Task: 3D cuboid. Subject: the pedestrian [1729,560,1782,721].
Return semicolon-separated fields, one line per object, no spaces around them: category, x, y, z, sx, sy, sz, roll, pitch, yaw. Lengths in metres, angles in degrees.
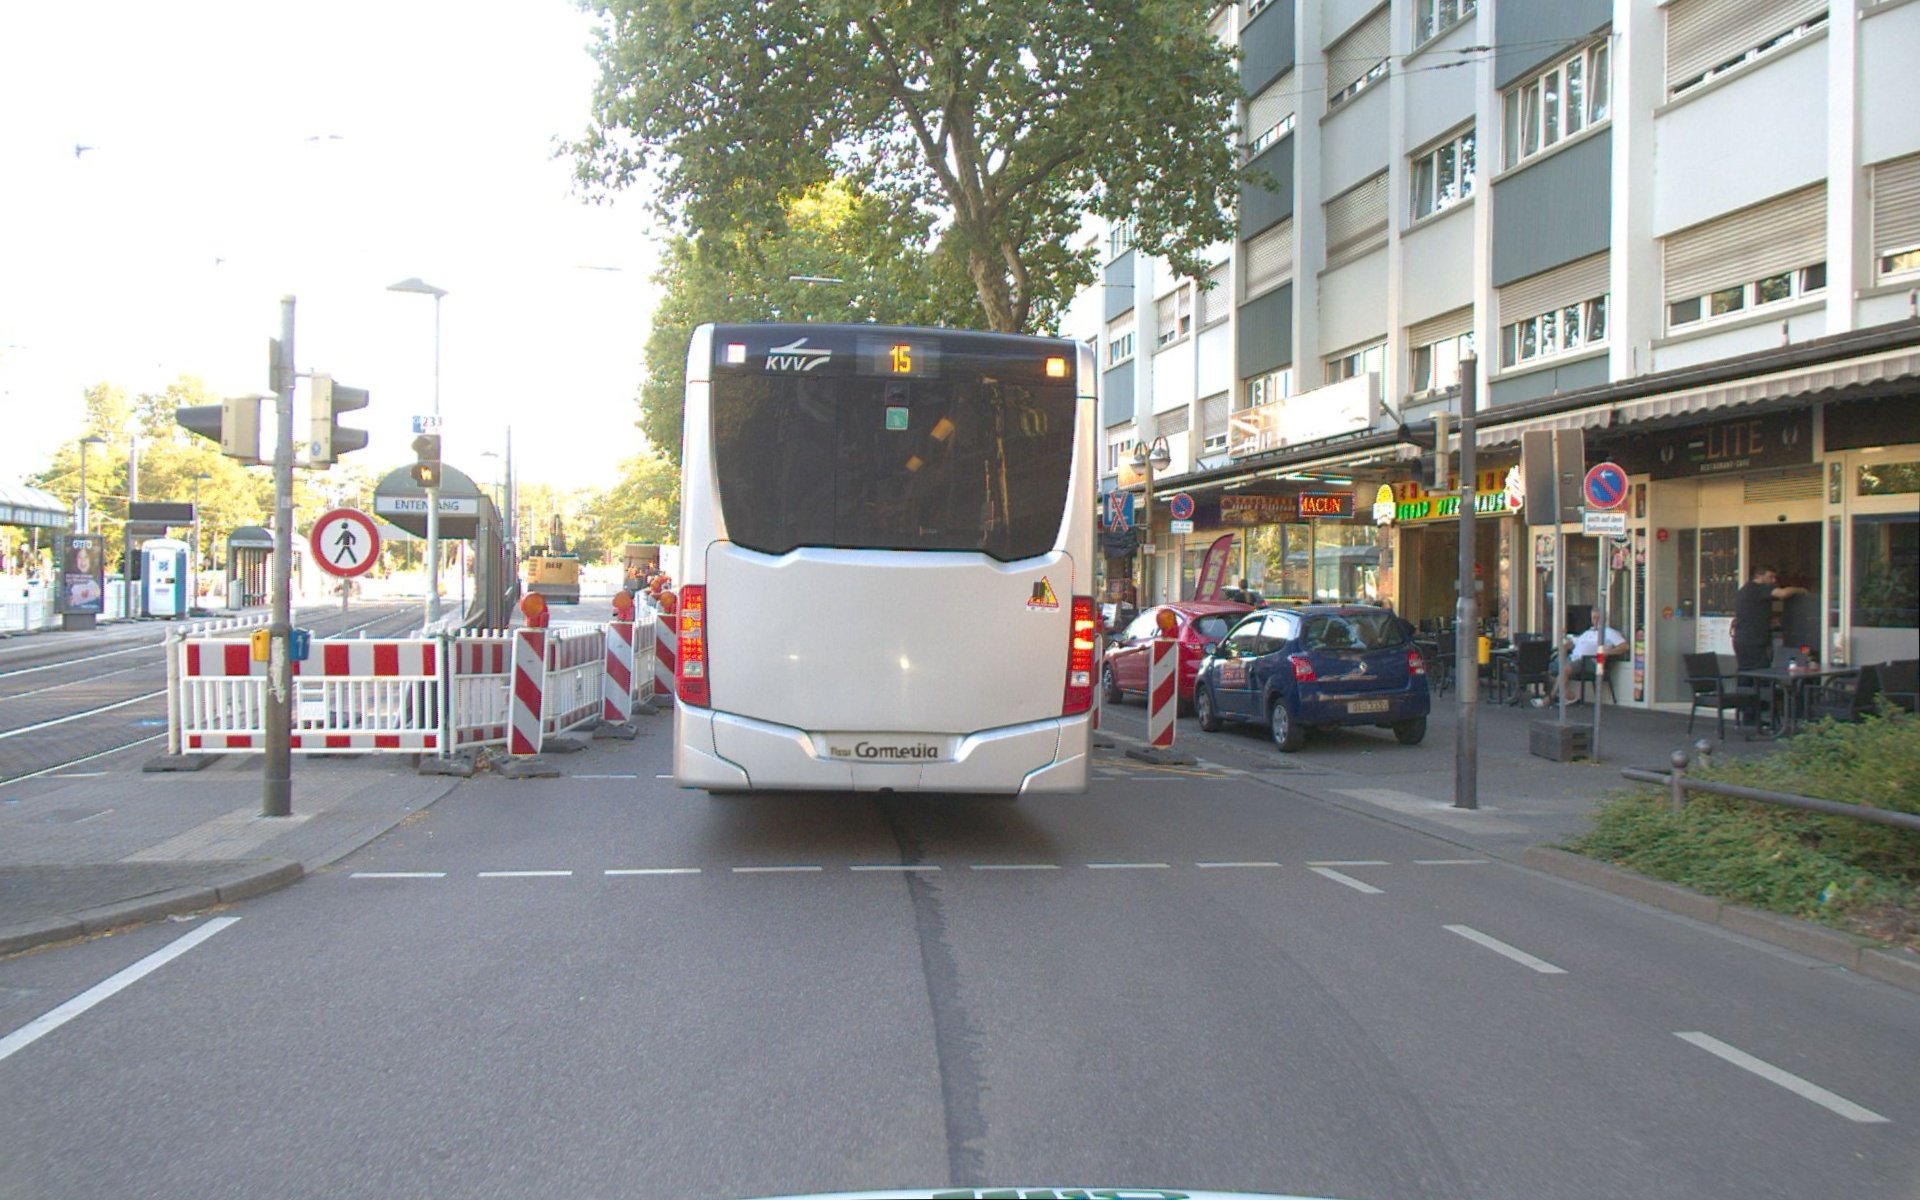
pedestrian;8.741;0.439;18.178;0.350;1.748;0.309;2;1;-3

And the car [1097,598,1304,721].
car;3.191;0.741;22.549;1.634;1.419;3.401;-3;1;-13

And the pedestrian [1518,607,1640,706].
pedestrian;7.912;0.717;21.172;1.156;1.218;0.924;1;0;-11

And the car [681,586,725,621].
car;-11.283;0.129;72.386;1.725;1.489;3.989;1;0;-11

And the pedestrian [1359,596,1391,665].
pedestrian;6.928;0.512;27.635;0.380;1.141;0.391;1;0;-11

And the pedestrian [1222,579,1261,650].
pedestrian;5.091;0.260;29.938;0.581;1.278;0.392;1;0;-10

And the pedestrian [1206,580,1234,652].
pedestrian;4.620;0.285;29.391;0.380;1.278;0.391;1;0;-11

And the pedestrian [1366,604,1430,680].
pedestrian;6.718;0.638;25.387;0.692;1.128;0.764;1;0;-10

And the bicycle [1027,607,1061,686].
bicycle;1.418;0.758;27.788;0.496;1.232;2.094;1;0;4

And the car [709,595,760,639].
car;-8.118;0.583;59.817;1.722;1.489;3.995;1;0;-6

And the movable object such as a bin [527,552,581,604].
movable object such as a bin;-20.381;-1.086;83.290;2.450;2.520;5.339;1;0;-12

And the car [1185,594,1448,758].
car;3.876;0.758;18.544;1.633;1.543;3.403;-3;1;-11

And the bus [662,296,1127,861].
bus;-0.880;-0.120;14.455;2.607;3.153;10.202;1;0;-6
